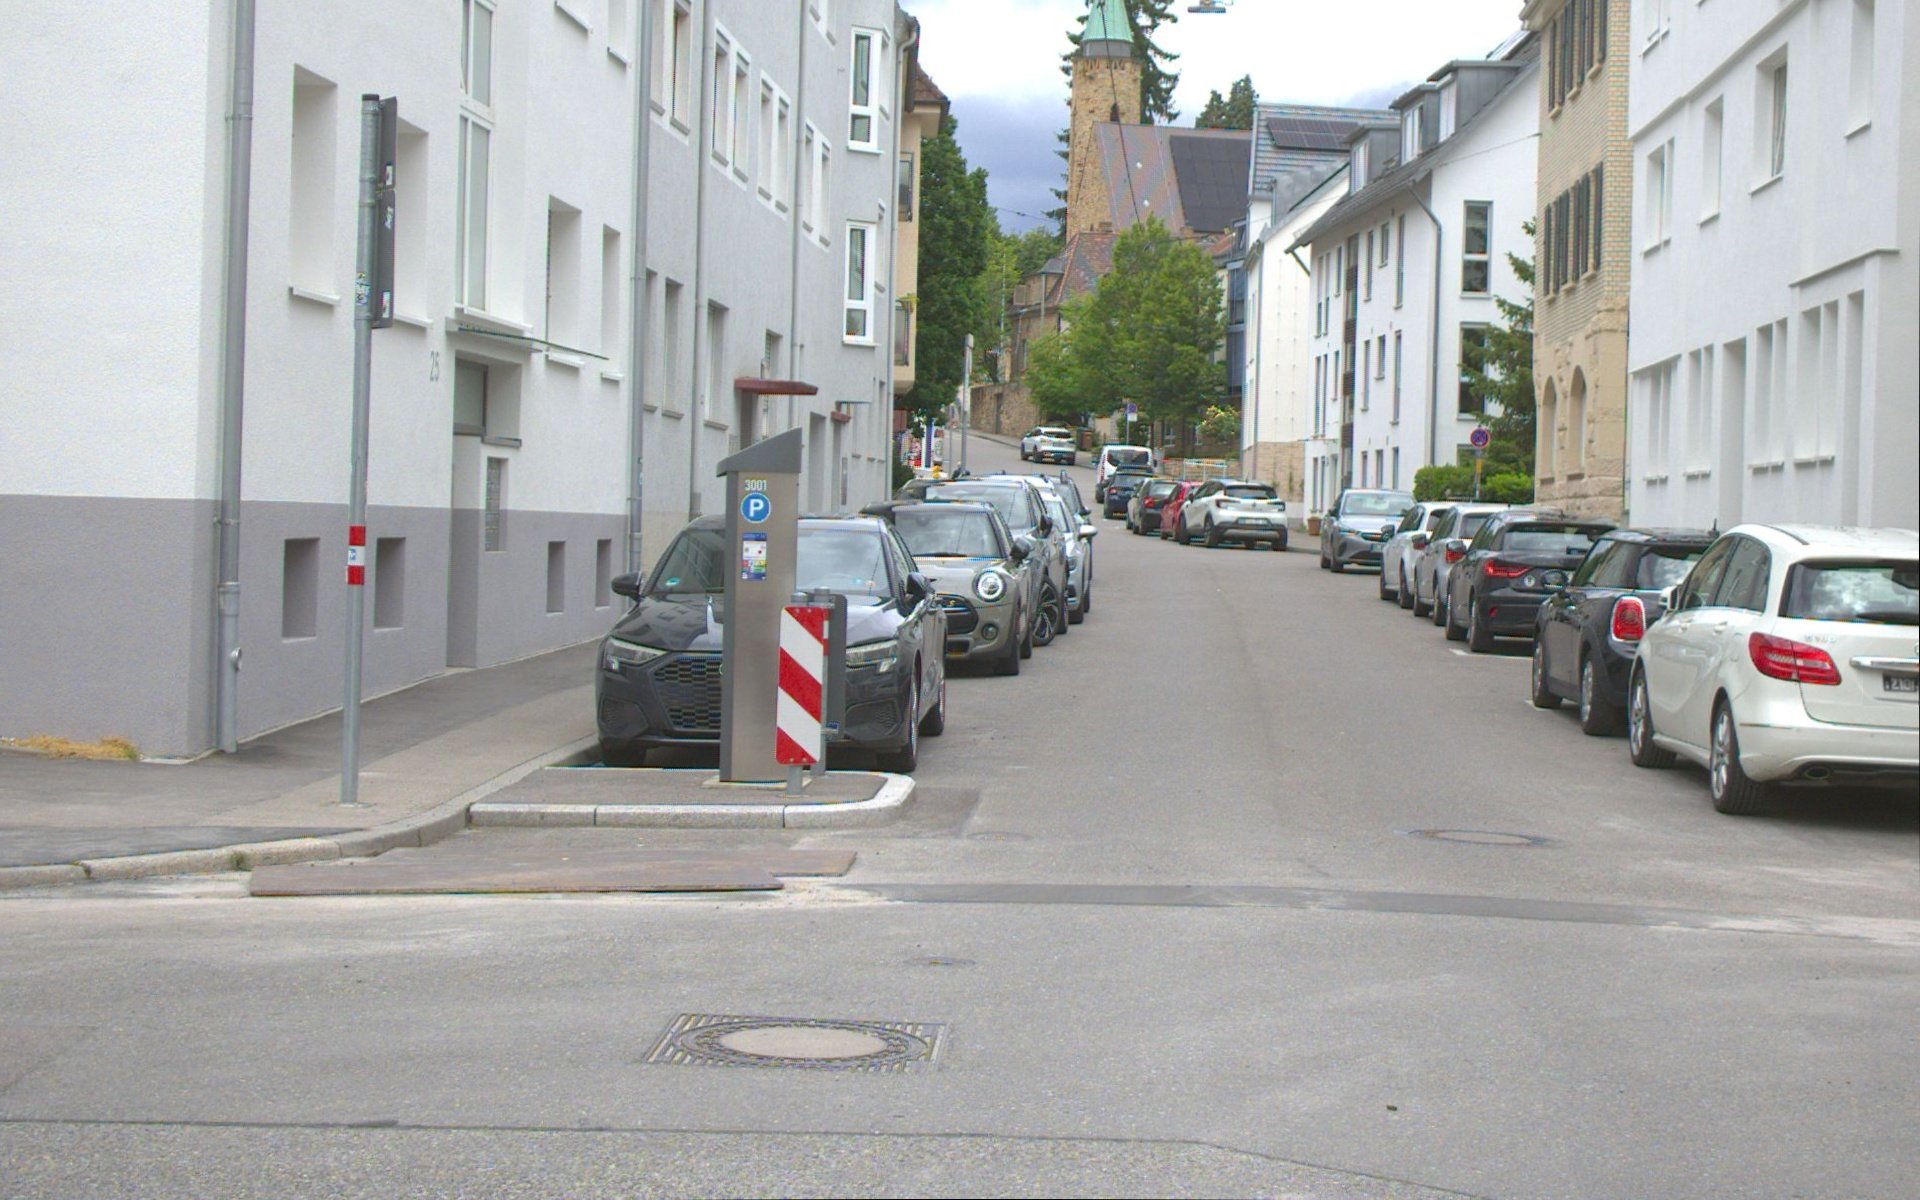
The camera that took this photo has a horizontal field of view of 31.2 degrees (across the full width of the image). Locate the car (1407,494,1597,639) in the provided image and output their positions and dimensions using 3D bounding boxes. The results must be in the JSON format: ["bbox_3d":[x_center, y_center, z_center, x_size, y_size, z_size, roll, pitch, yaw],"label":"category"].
[{"bbox_3d":[6.396,-0.440,40.893,1.668,1.474,3.626,3,3,1],"label":"car"}]

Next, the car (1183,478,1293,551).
[{"bbox_3d":[6.223,-1.947,77.372,1.784,1.474,3.627,2,3,-6],"label":"car"}]

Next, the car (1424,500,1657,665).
[{"bbox_3d":[5.798,-0.221,34.757,1.668,1.380,4.028,3,3,1],"label":"car"}]

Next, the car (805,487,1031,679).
[{"bbox_3d":[-0.301,-0.196,29.435,1.730,1.484,3.719,1,2,2],"label":"car"}]

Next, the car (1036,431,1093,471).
[{"bbox_3d":[4.747,-6.792,156.396,2.181,1.687,3.627,2,3,-4],"label":"car"}]

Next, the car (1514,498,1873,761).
[{"bbox_3d":[5.098,0.131,24.403,1.668,1.527,4.028,3,3,1],"label":"car"}]

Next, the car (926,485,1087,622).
[{"bbox_3d":[0.574,-0.567,39.284,1.730,1.443,3.719,1,2,2],"label":"car"}]

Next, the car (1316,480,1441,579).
[{"bbox_3d":[7.115,-1.233,58.733,1.668,1.474,3.626,3,3,1],"label":"car"}]

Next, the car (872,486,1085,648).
[{"bbox_3d":[0.237,-0.374,34.108,1.730,1.464,3.719,1,2,6],"label":"car"}]

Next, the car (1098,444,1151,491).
[{"bbox_3d":[5.582,-4.531,117.046,1.667,1.474,3.626,2,3,1],"label":"car"}]

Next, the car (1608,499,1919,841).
[{"bbox_3d":[4.976,0.326,19.471,1.820,1.593,4.028,3,3,1],"label":"car"}]

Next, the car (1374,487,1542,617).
[{"bbox_3d":[6.544,-0.669,45.488,1.668,1.474,3.626,3,3,1],"label":"car"}]

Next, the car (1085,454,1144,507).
[{"bbox_3d":[4.722,-3.673,105.342,1.667,1.474,3.626,2,3,1],"label":"car"}]

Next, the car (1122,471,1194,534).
[{"bbox_3d":[5.074,-2.518,88.495,1.667,1.474,3.626,2,3,1],"label":"car"}]

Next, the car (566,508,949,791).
[{"bbox_3d":[-1.070,0.202,20.152,1.820,1.386,4.298,1,2,2],"label":"car"}]
